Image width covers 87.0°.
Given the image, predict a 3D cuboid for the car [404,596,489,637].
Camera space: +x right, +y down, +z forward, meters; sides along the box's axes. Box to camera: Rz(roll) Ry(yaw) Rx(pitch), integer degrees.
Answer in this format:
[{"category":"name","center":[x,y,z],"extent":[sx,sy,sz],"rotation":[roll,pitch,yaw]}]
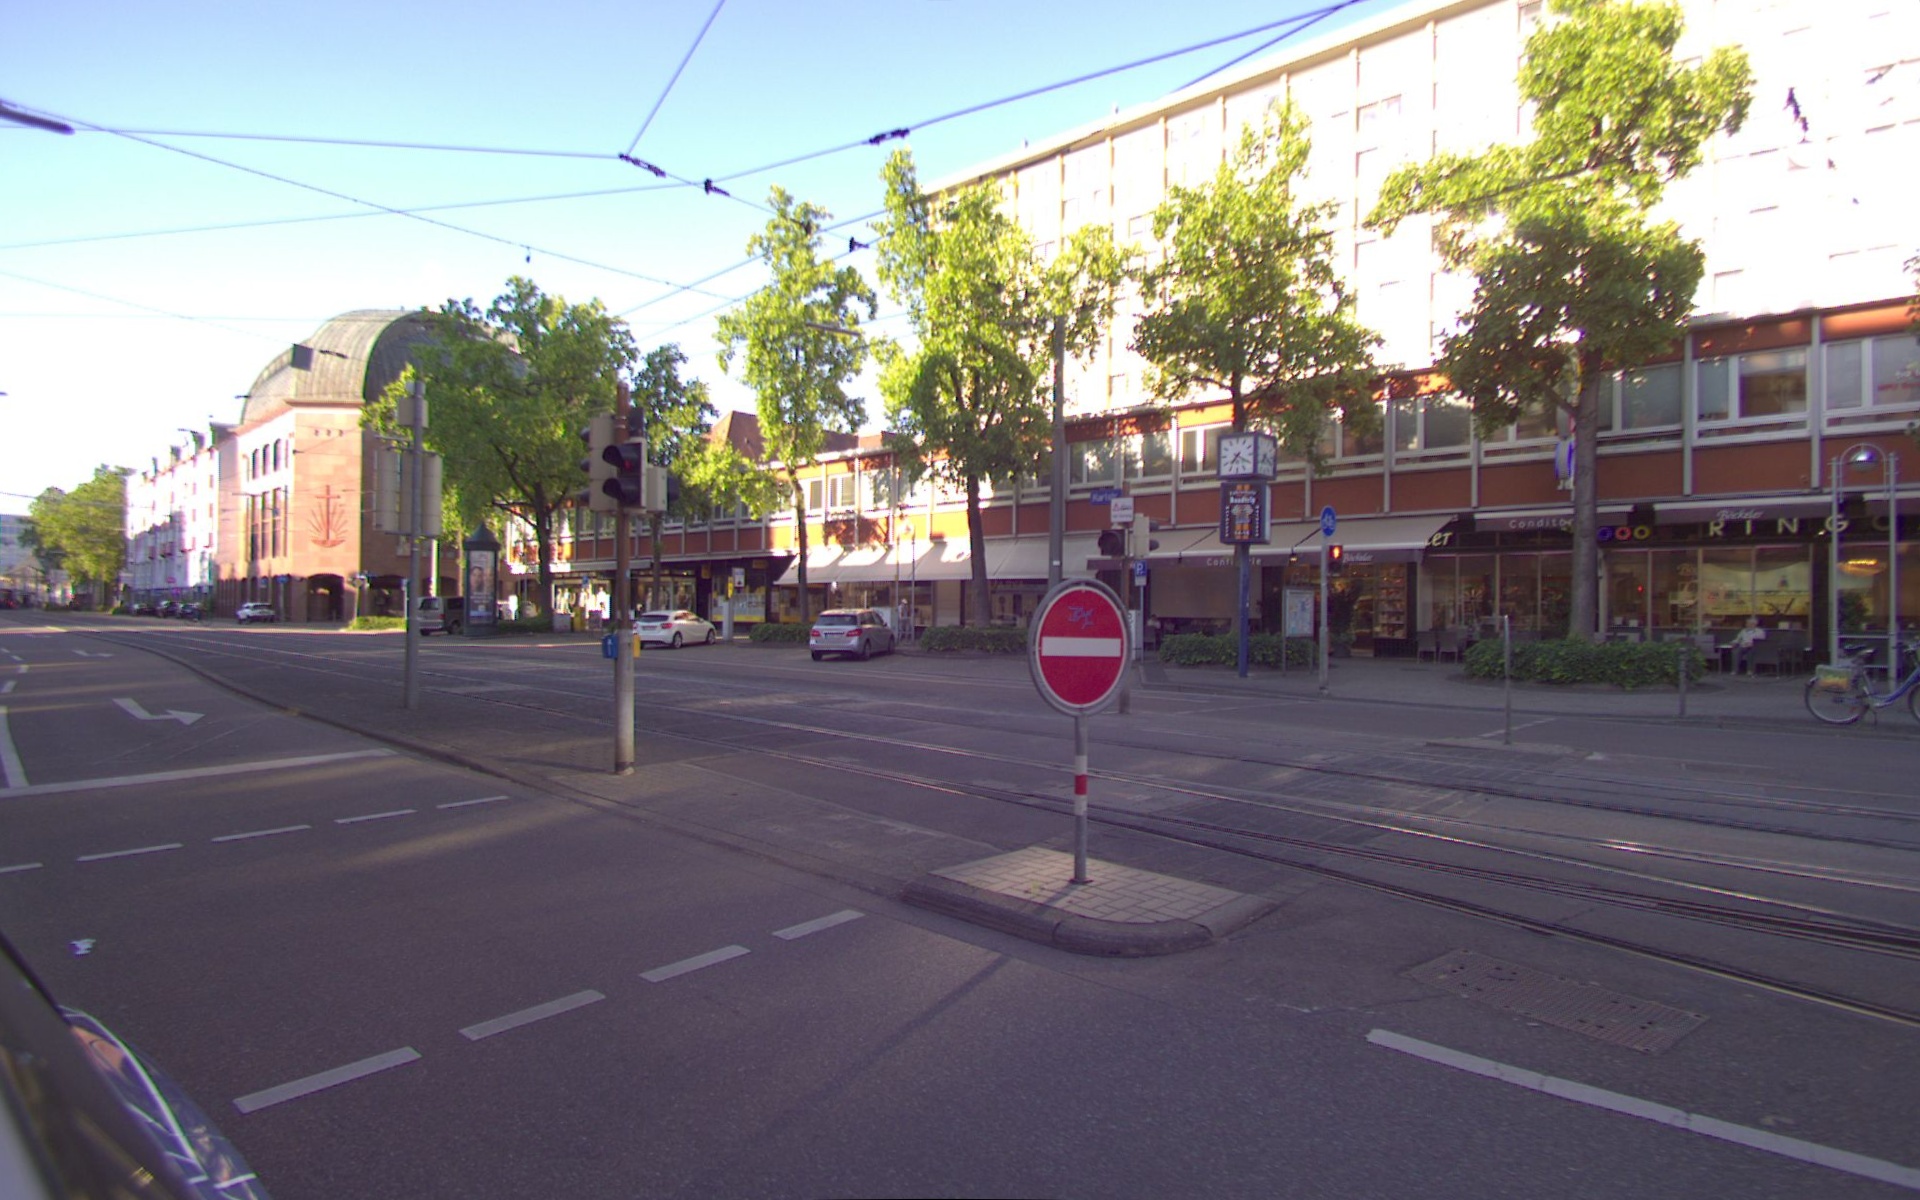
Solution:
[{"category":"car","center":[-25.909,0.794,51.182],"extent":[1.890,1.979,3.989],"rotation":[0,0,9]}]

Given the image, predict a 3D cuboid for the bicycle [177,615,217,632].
[{"category":"bicycle","center":[-49.016,1.507,64.983],"extent":[2.008,1.100,0.673],"rotation":[1,-1,-3]}]

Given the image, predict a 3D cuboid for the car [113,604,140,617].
[{"category":"car","center":[-102.954,1.261,124.989],"extent":[3.999,1.615,1.939],"rotation":[0,0,42]}]

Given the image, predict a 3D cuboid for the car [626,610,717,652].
[{"category":"car","center":[-11.137,1.166,39.367],"extent":[1.779,1.486,3.984],"rotation":[0,0,12]}]

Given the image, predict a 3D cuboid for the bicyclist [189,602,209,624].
[{"category":"bicyclist","center":[-48.904,0.832,65.002],"extent":[0.752,1.433,0.673],"rotation":[1,-1,-3]}]

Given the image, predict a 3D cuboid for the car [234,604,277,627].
[{"category":"car","center":[-53.590,1.165,76.951],"extent":[3.999,1.615,1.885],"rotation":[0,0,42]}]

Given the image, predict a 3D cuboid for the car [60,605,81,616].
[{"category":"car","center":[-130.084,1.546,147.973],"extent":[3.999,1.615,1.939],"rotation":[0,0,42]}]

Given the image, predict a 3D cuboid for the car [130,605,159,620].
[{"category":"car","center":[-91.500,1.377,113.525],"extent":[3.999,1.615,1.939],"rotation":[0,0,42]}]

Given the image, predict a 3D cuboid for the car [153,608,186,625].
[{"category":"car","center":[-78.137,1.573,100.057],"extent":[3.999,1.615,1.939],"rotation":[0,0,42]}]

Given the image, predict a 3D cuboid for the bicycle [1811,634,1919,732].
[{"category":"bicycle","center":[12.750,1.115,13.655],"extent":[0.573,1.244,1.859],"rotation":[0,0,-40]}]

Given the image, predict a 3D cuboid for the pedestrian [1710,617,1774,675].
[{"category":"pedestrian","center":[17.800,1.038,23.047],"extent":[0.826,1.272,0.910],"rotation":[1,-1,-30]}]

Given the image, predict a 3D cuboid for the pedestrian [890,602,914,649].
[{"category":"pedestrian","center":[-2.201,0.961,38.419],"extent":[0.626,1.782,0.771],"rotation":[1,0,-30]}]

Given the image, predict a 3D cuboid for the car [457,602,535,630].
[{"category":"car","center":[-34.496,1.232,75.337],"extent":[1.999,2.029,4.917],"rotation":[0,-1,42]}]

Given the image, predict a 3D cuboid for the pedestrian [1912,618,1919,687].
[{"category":"pedestrian","center":[20.140,1.083,20.741],"extent":[0.923,1.407,0.891],"rotation":[2,-2,-45]}]

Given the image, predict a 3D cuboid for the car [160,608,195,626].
[{"category":"car","center":[-73.854,1.556,95.465],"extent":[3.999,1.615,1.939],"rotation":[0,0,42]}]

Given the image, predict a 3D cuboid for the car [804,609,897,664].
[{"category":"car","center":[-3.370,1.088,31.935],"extent":[1.779,1.566,3.984],"rotation":[0,0,12]}]
